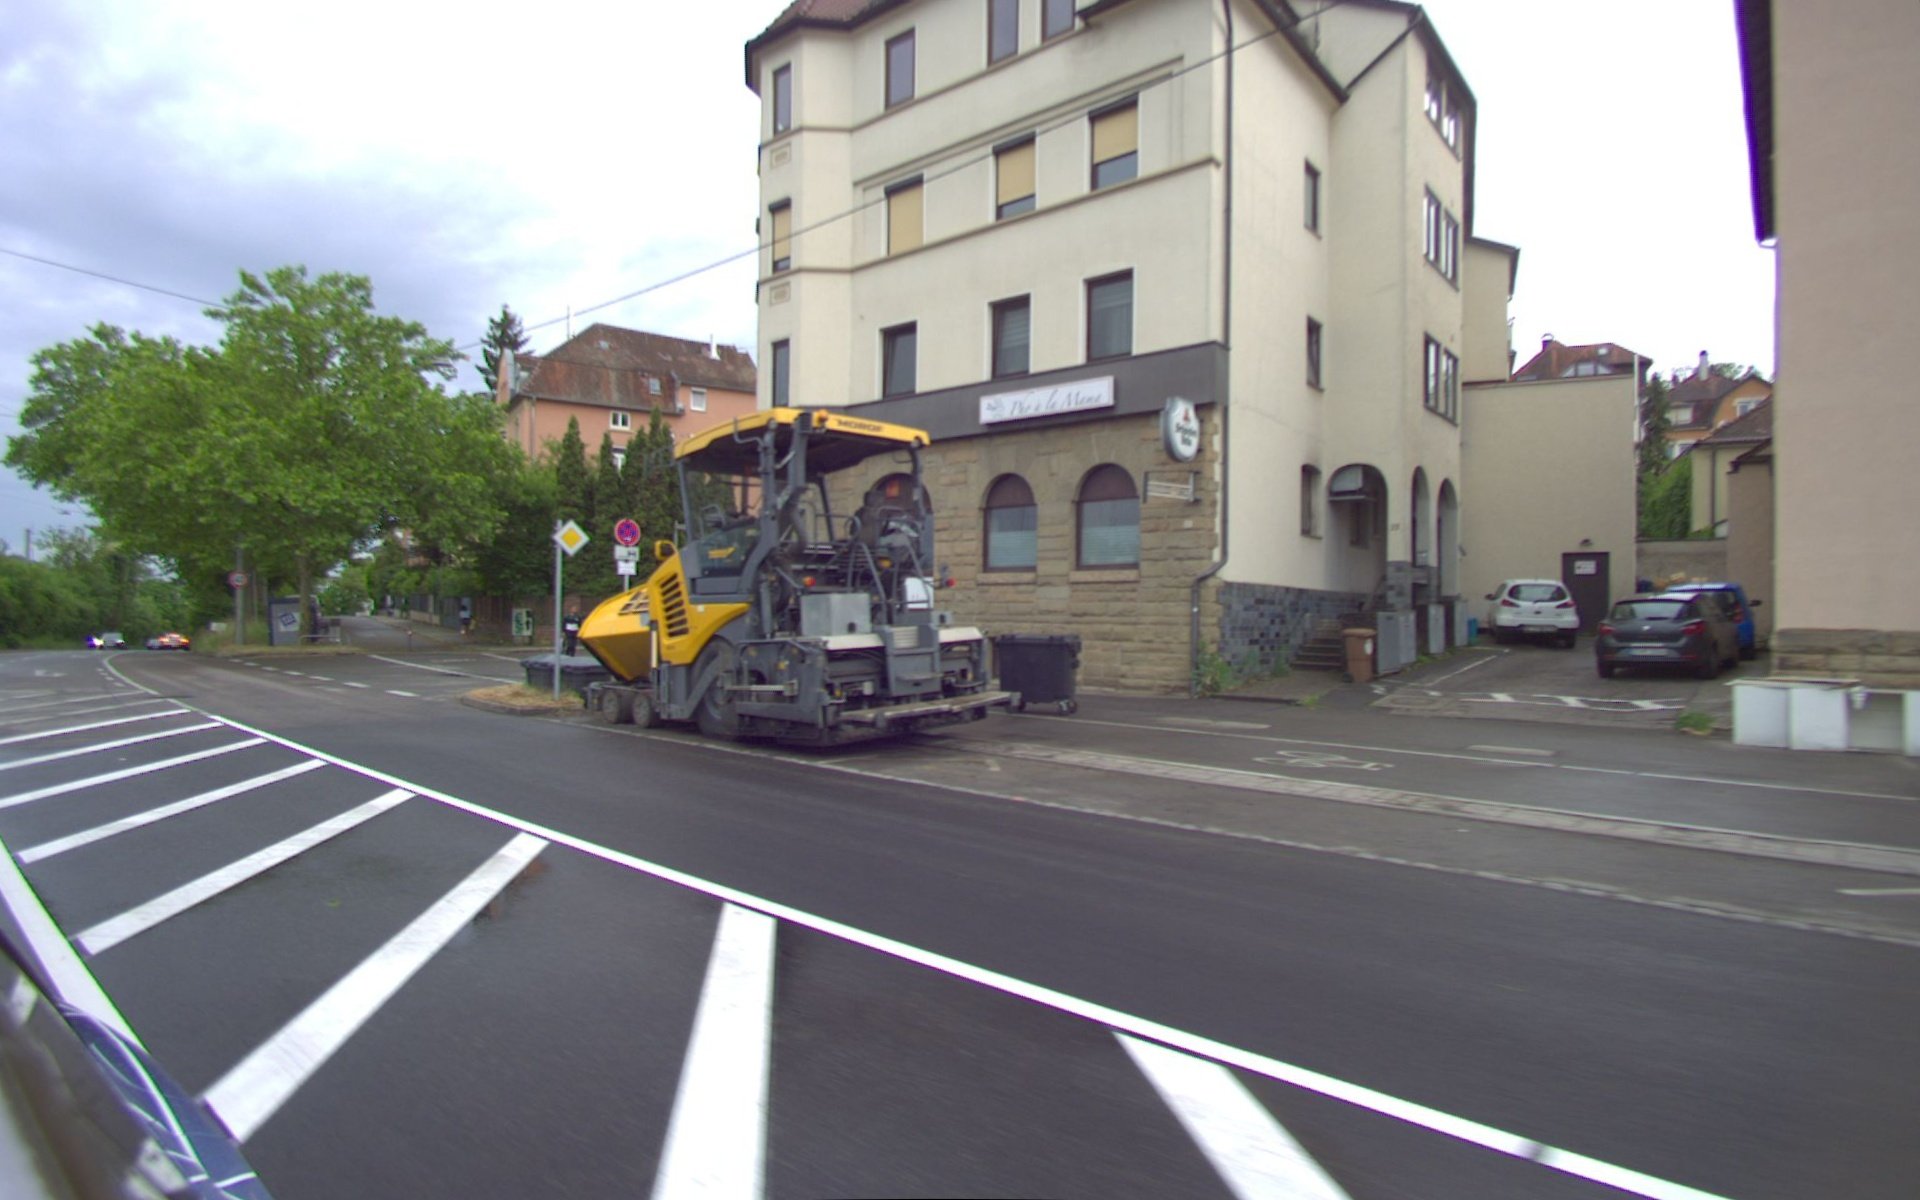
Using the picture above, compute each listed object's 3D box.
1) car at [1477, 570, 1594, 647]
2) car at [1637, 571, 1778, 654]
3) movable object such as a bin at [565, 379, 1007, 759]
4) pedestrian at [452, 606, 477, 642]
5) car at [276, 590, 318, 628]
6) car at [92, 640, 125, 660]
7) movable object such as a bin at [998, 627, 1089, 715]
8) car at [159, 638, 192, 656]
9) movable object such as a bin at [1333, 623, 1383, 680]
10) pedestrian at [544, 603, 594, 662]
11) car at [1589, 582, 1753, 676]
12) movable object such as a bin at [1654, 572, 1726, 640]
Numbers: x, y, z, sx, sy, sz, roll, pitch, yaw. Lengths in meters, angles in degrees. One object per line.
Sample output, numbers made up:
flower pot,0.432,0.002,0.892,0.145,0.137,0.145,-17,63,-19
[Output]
car,14.048,0.241,24.942,1.882,1.684,3.971,-3,-2,22
car,15.546,0.258,20.967,1.999,1.519,3.945,-3,-2,41
movable object such as a bin,-2.572,-0.197,13.421,2.743,3.885,5.990,0,-2,-45
pedestrian,-19.599,0.945,40.011,0.780,1.365,0.793,-1,-2,-34
car,-38.335,0.542,58.526,1.966,2.029,4.639,-1,-2,-33
car,-67.581,3.960,80.340,1.968,1.453,4.007,-1,-2,-39
movable object such as a bin,1.264,1.050,15.151,1.193,1.232,0.889,-2,-2,15
car,-64.955,3.888,83.879,2.044,1.363,4.723,-1,-2,-37
movable object such as a bin,7.047,0.913,17.925,0.645,0.981,0.616,-3,-2,36
pedestrian,-11.235,0.918,29.078,0.989,1.642,0.883,-3,-2,24
car,12.597,0.486,17.839,1.852,1.453,3.944,-4,-2,42
movable object such as a bin,17.325,0.148,24.015,1.187,1.519,1.925,-3,-2,40
